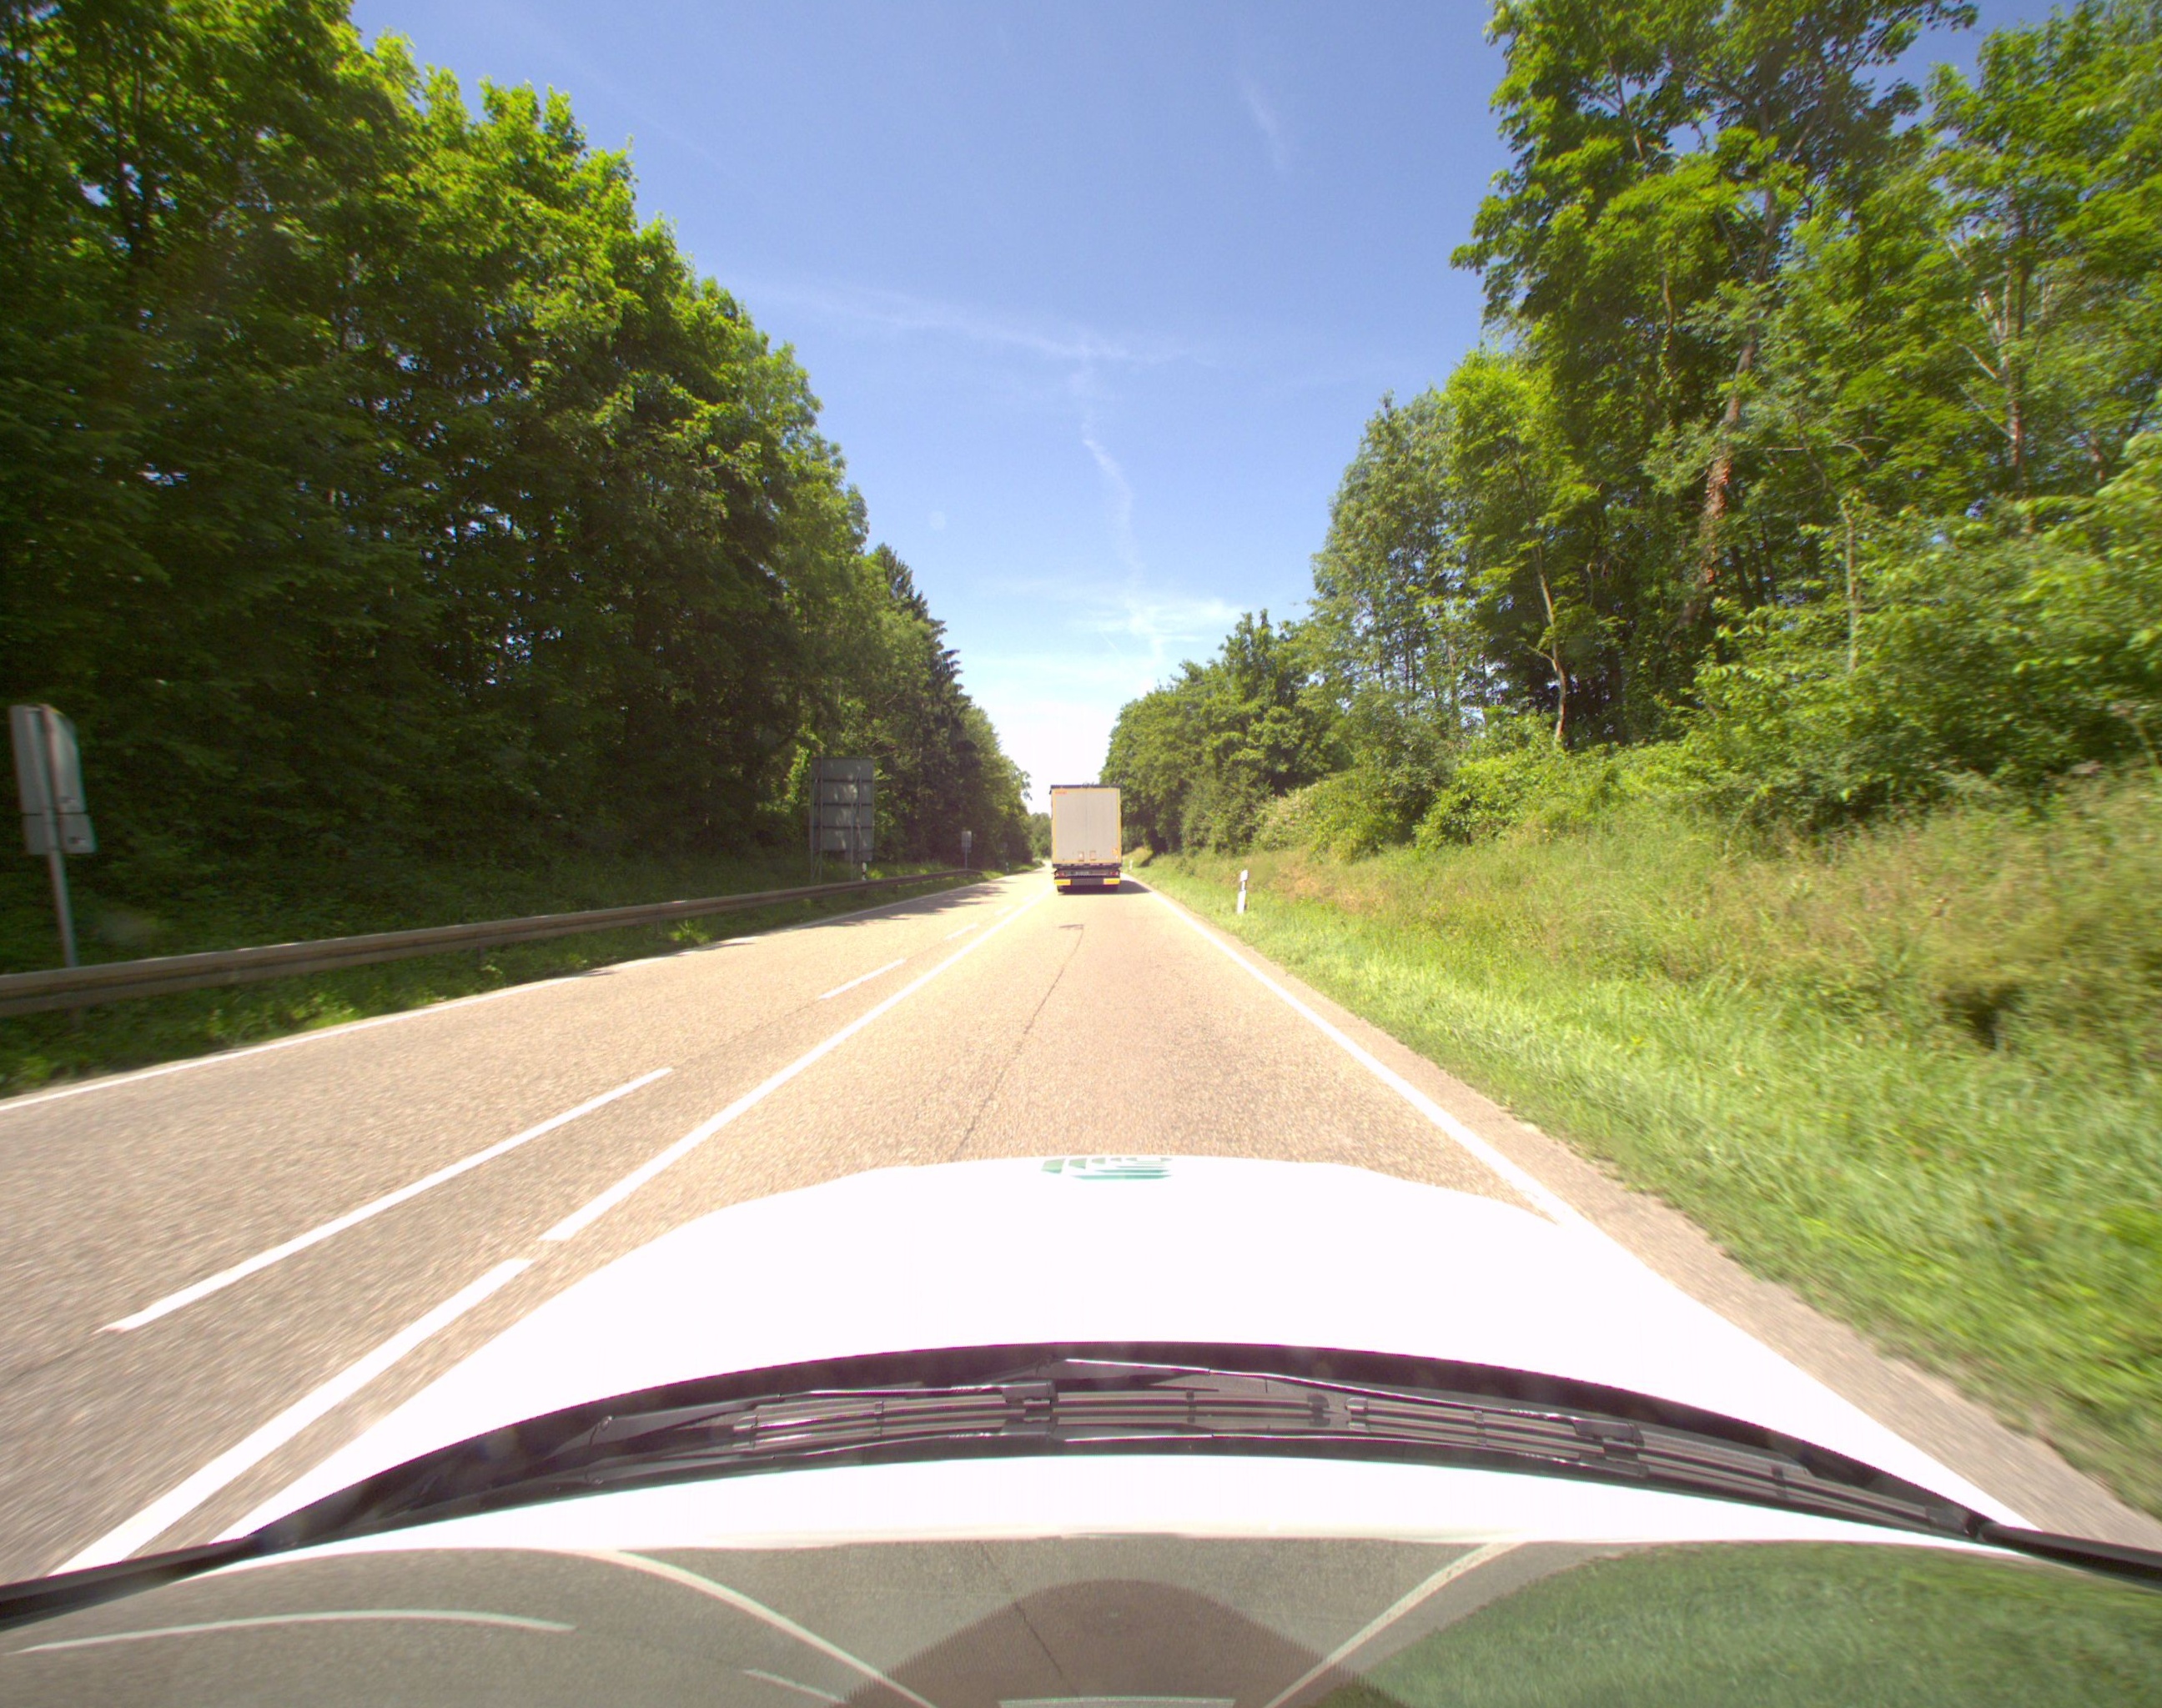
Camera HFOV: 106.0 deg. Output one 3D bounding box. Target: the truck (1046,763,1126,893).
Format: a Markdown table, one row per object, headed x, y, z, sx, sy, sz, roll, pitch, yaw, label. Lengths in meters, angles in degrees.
| x | y | z | sx | sy | sz | roll | pitch | yaw | label |
| --- | --- | --- | --- | --- | --- | --- | --- | --- | --- |
| 0.286 | -0.921 | 32.376 | 2.812 | 4.604 | 6.668 | 0 | 0 | 2 | truck |
